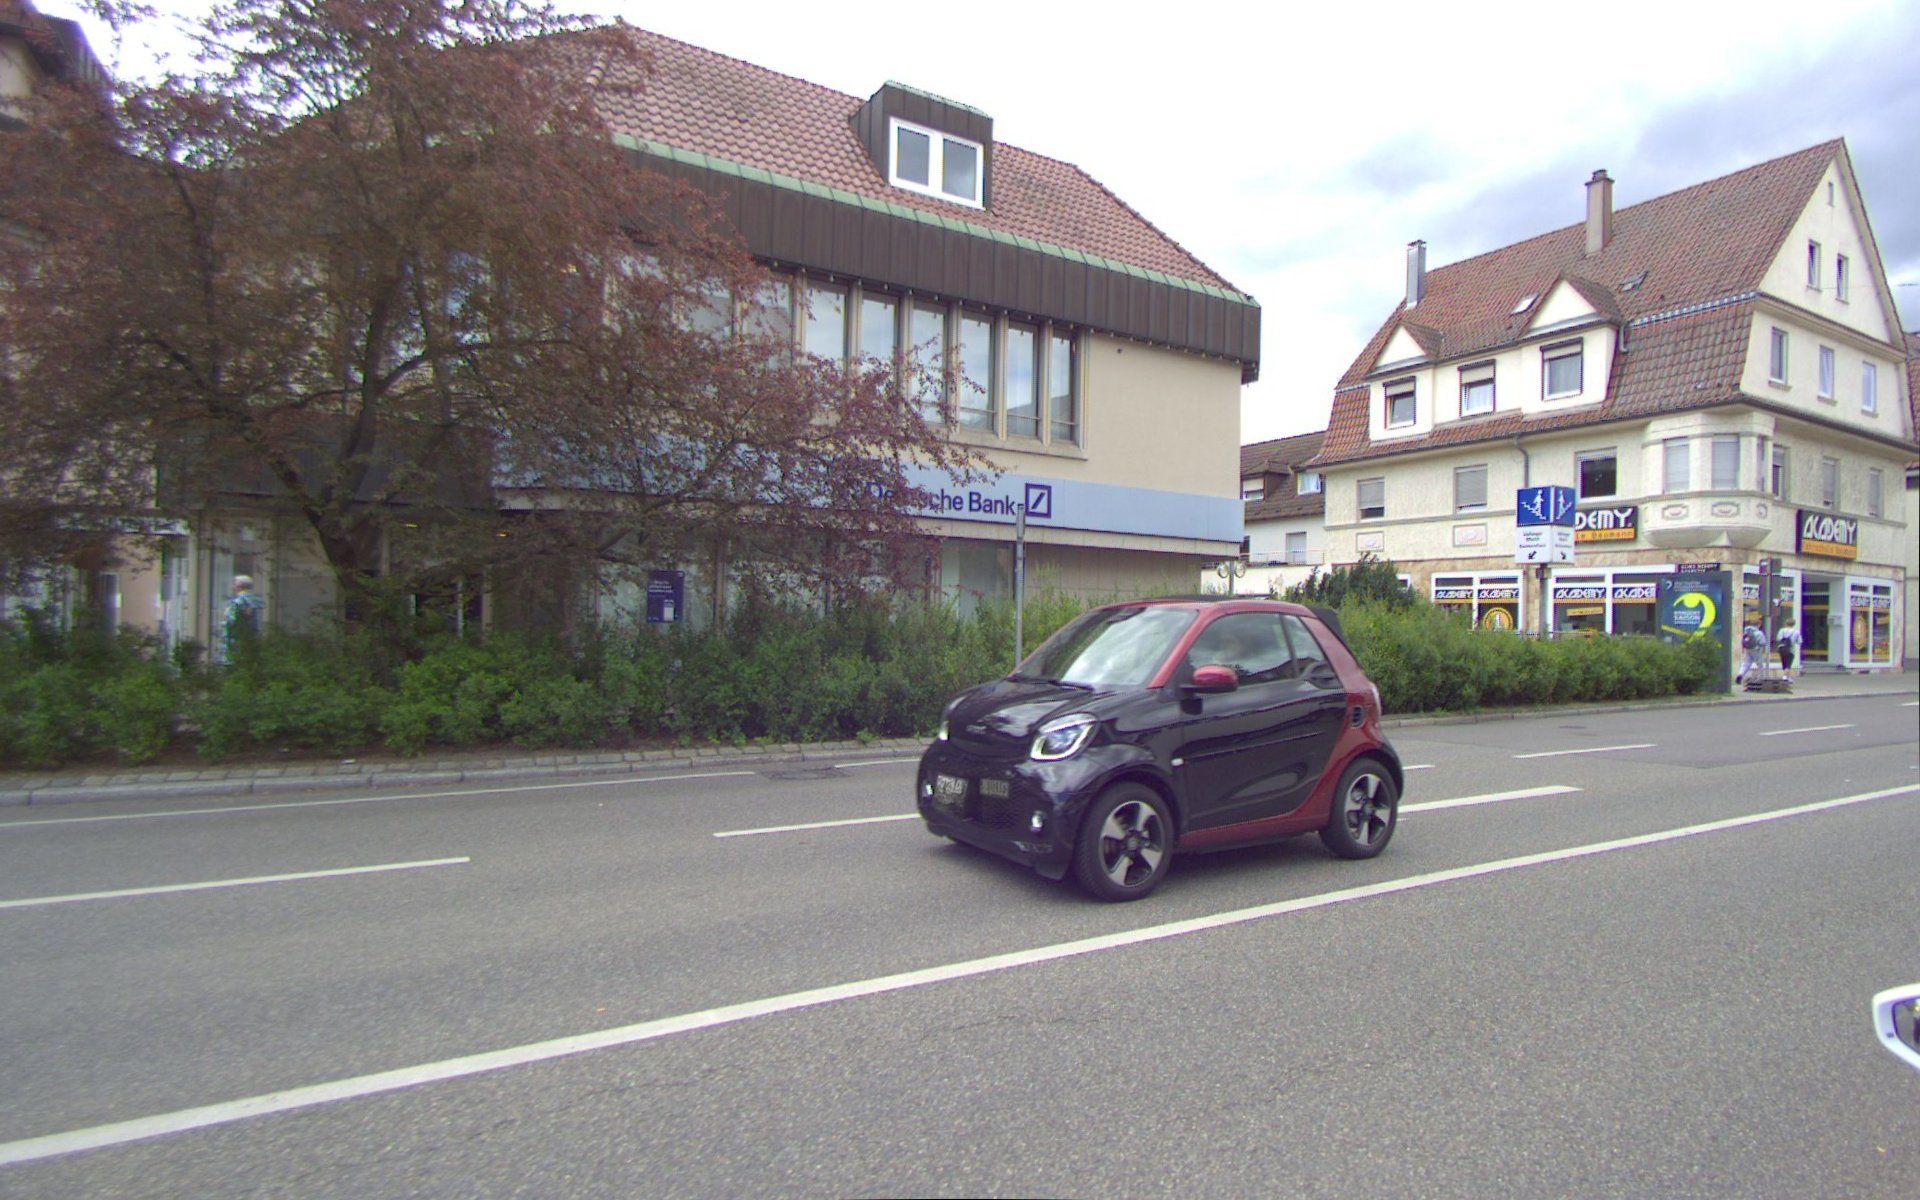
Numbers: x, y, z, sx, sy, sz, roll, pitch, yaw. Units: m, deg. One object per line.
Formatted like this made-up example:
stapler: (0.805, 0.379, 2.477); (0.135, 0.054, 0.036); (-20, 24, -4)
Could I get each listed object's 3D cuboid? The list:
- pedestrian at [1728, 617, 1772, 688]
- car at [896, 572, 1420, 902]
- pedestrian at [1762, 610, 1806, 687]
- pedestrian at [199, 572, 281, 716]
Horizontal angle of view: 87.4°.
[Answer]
pedestrian: (20.063, 1.326, 25.521); (0.673, 1.784, 0.684); (1, -1, -30)
car: (1.258, 0.697, 6.217); (2.928, 1.560, 1.561); (1, -2, -32)
pedestrian: (20.282, 1.183, 24.732); (0.673, 1.848, 0.630); (1, -1, -30)
pedestrian: (-9.352, 0.553, 13.073); (0.745, 1.788, 0.723); (1, 4, -26)
